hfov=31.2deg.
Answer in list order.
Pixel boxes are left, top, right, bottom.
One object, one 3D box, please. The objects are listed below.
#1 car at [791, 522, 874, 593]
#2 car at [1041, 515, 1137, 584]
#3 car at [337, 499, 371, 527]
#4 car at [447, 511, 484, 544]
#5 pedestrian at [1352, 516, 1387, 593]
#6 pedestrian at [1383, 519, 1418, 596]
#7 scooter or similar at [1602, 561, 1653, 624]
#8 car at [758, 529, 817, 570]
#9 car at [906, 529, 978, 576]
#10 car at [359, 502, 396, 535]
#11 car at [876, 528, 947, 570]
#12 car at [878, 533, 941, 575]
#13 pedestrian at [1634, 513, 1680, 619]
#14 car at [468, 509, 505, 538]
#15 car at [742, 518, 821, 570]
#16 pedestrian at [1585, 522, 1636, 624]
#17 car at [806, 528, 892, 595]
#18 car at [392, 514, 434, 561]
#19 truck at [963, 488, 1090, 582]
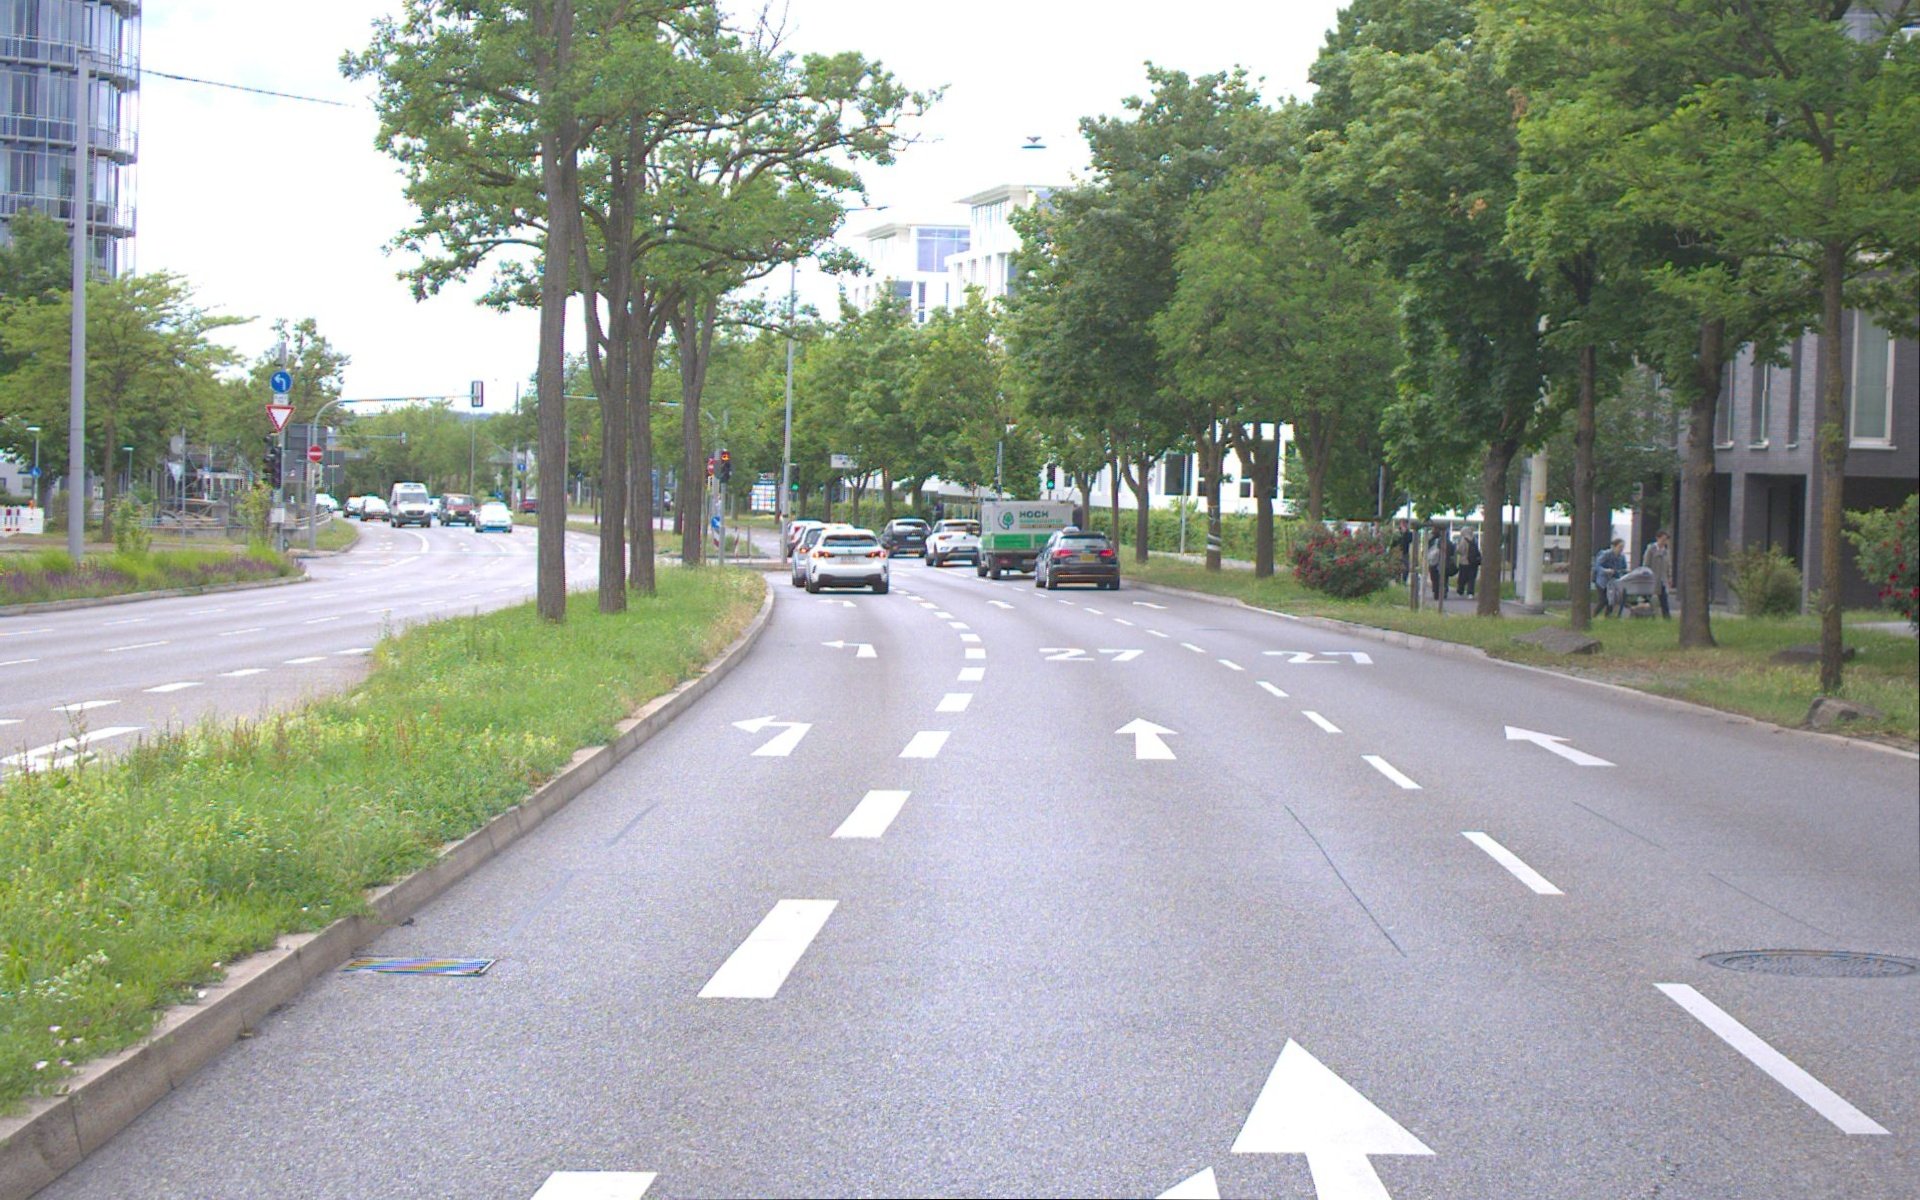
[{"bbox_3d":[-3.191,-1.058,85.694,1.993,1.666,4.000,1,1,-2],"label":"car"},{"bbox_3d":[3.090,-1.228,83.335,1.993,1.590,4.001,1,1,-2],"label":"car"},{"bbox_3d":[-42.890,-6.152,243.259,1.993,1.846,4.325,3,1,-6],"label":"car"},{"bbox_3d":[-29.970,-4.391,208.314,1.993,1.924,4.001,3,1,-6],"label":"car"},{"bbox_3d":[9.713,-1.083,81.534,0.608,1.769,0.954,1,3,-3],"label":"pedestrian"},{"bbox_3d":[10.449,-1.018,81.604,0.608,1.769,0.954,1,3,-3],"label":"pedestrian"},{"bbox_3d":[10.706,-0.123,55.133,0.583,0.990,0.847,0,1,-6],"label":"scooter or similar"},{"bbox_3d":[-6.608,-1.936,131.469,1.993,1.485,4.001,2,1,-6],"label":"car"},{"bbox_3d":[-0.606,-1.588,113.611,1.993,1.503,4.001,1,1,-6],"label":"car"},{"bbox_3d":[-38.023,-5.319,224.468,1.993,2.004,4.325,3,1,-6],"label":"car"},{"bbox_3d":[-1.852,-1.913,128.817,1.993,1.503,4.001,1,1,-10],"label":"car"},{"bbox_3d":[-1.932,-1.741,129.406,1.993,1.485,4.001,2,1,-6],"label":"car"},{"bbox_3d":[11.377,-0.556,56.116,0.567,1.694,0.829,1,0,2],"label":"pedestrian"},{"bbox_3d":[-25.404,-4.097,184.428,1.752,1.439,4.136,3,1,-6],"label":"car"},{"bbox_3d":[-5.399,-1.703,104.499,1.994,1.503,4.000,2,1,2],"label":"car"},{"bbox_3d":[10.601,-0.448,56.038,0.555,1.647,0.962,0,1,-6],"label":"pedestrian"},{"bbox_3d":[-2.507,-0.882,78.465,1.863,1.444,4.000,1,1,-1],"label":"car"},{"bbox_3d":[-31.978,-3.686,201.223,1.993,2.625,5.876,3,1,-6],"label":"car"},{"bbox_3d":[1.822,-1.815,97.257,2.859,2.511,6.288,1,1,-5],"label":"truck"}]
